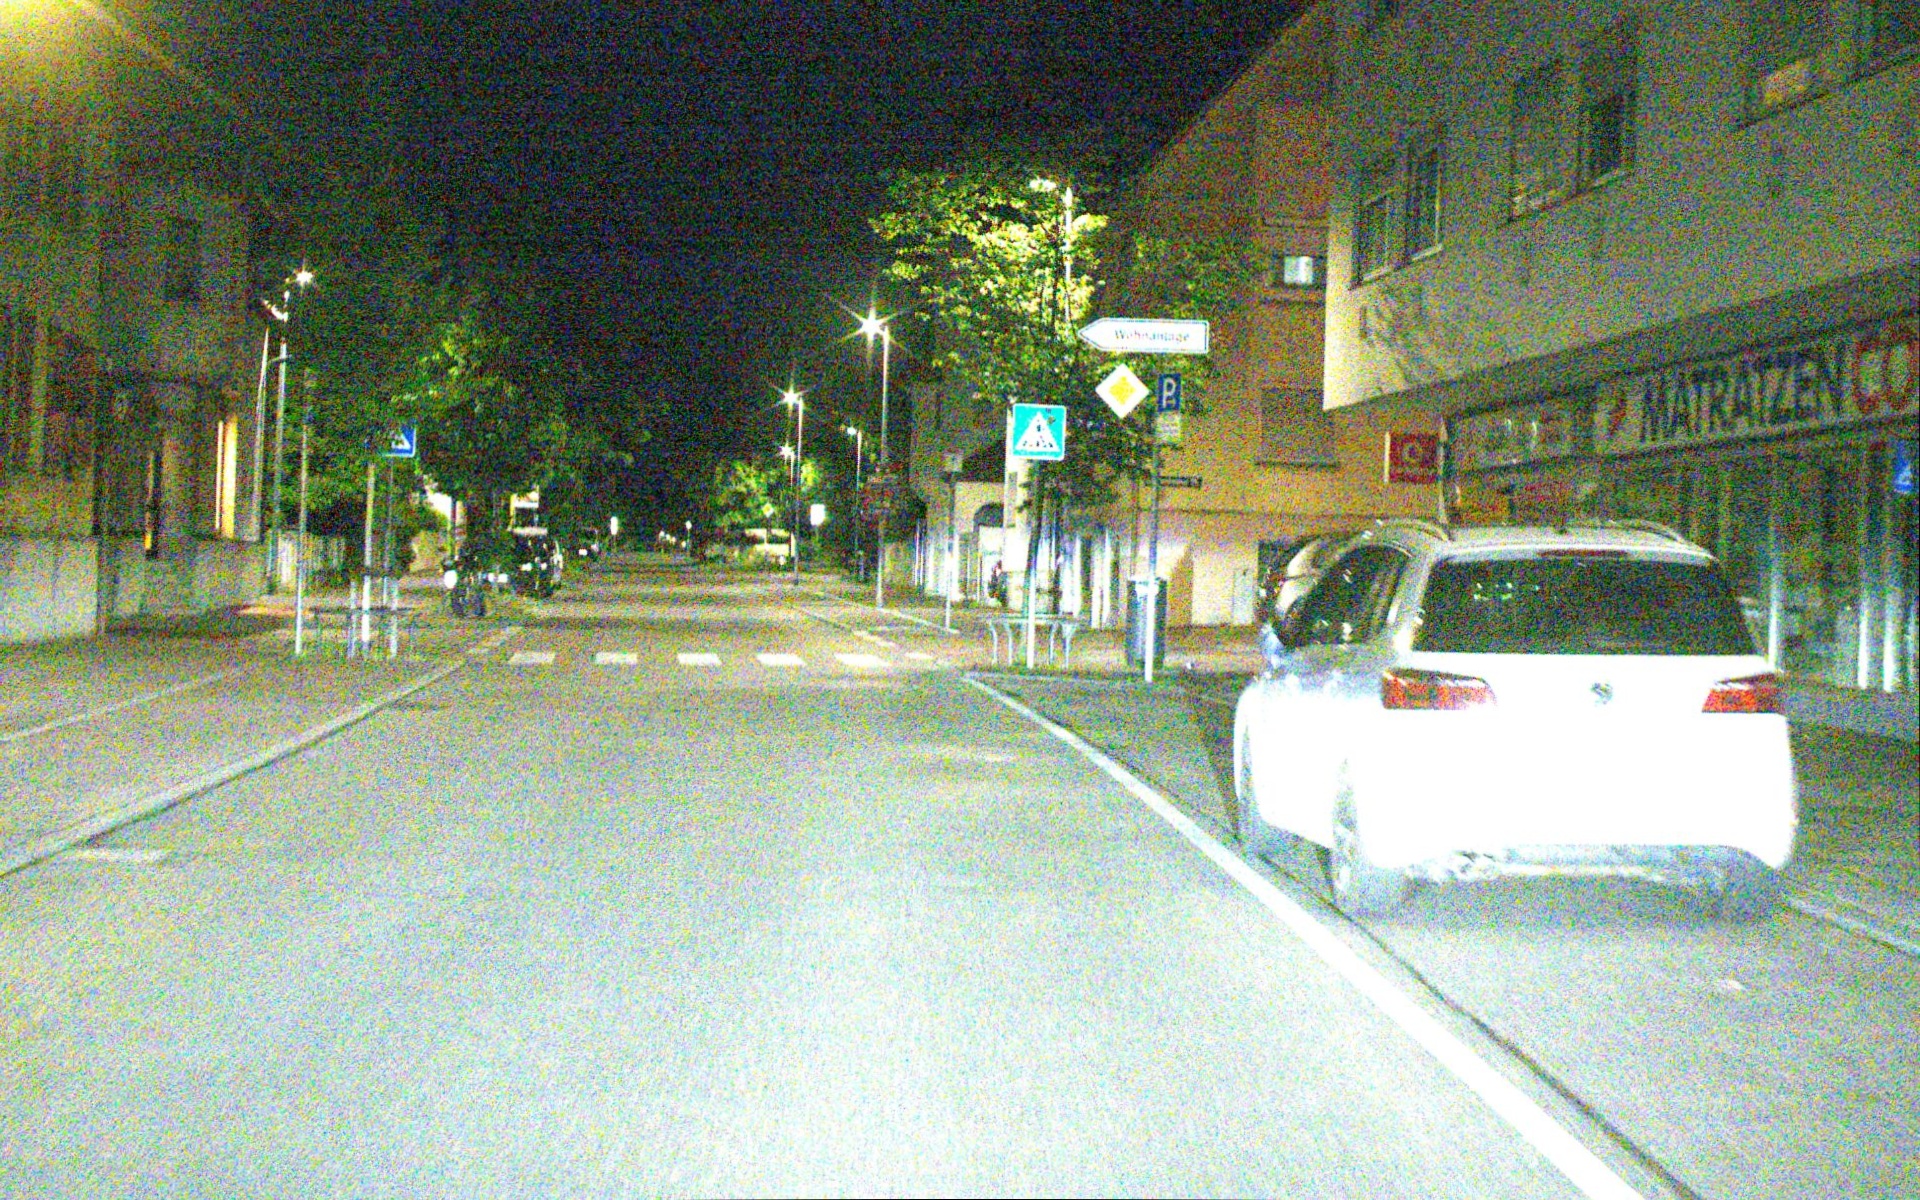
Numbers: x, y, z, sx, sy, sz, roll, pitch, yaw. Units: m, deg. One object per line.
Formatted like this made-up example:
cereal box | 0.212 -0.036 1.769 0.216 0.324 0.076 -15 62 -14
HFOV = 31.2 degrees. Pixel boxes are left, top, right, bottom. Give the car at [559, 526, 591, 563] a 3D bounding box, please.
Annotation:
car | -23.135 -3.328 206.495 1.824 1.980 4.466 3 -1 -7

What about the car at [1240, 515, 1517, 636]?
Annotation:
car | 5.864 -0.362 48.432 3.505 1.519 1.821 -2 2 -6

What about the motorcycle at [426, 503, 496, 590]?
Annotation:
motorcycle | -8.529 -0.922 58.801 0.746 1.447 2.195 1 1 3

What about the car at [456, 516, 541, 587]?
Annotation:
car | -10.451 -1.122 78.082 1.687 1.505 4.279 1 1 -5

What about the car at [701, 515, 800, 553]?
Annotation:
car | -11.209 -3.526 183.798 5.181 2.006 2.102 -1 2 -6

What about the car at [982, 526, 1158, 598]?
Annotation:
car | 2.400 -0.843 75.700 3.711 1.468 1.731 1 1 -2

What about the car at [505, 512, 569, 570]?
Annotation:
car | -11.946 -1.689 97.147 1.671 1.516 2.980 3 1 -7

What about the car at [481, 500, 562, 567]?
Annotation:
car | -10.592 -1.622 83.186 1.766 1.514 4.280 2 1 -6

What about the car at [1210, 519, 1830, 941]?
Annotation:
car | 2.249 0.436 14.948 1.742 1.563 4.209 0 1 -4

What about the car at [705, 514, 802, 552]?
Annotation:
car | -11.236 -3.647 186.871 5.181 2.006 2.102 -1 2 -6
